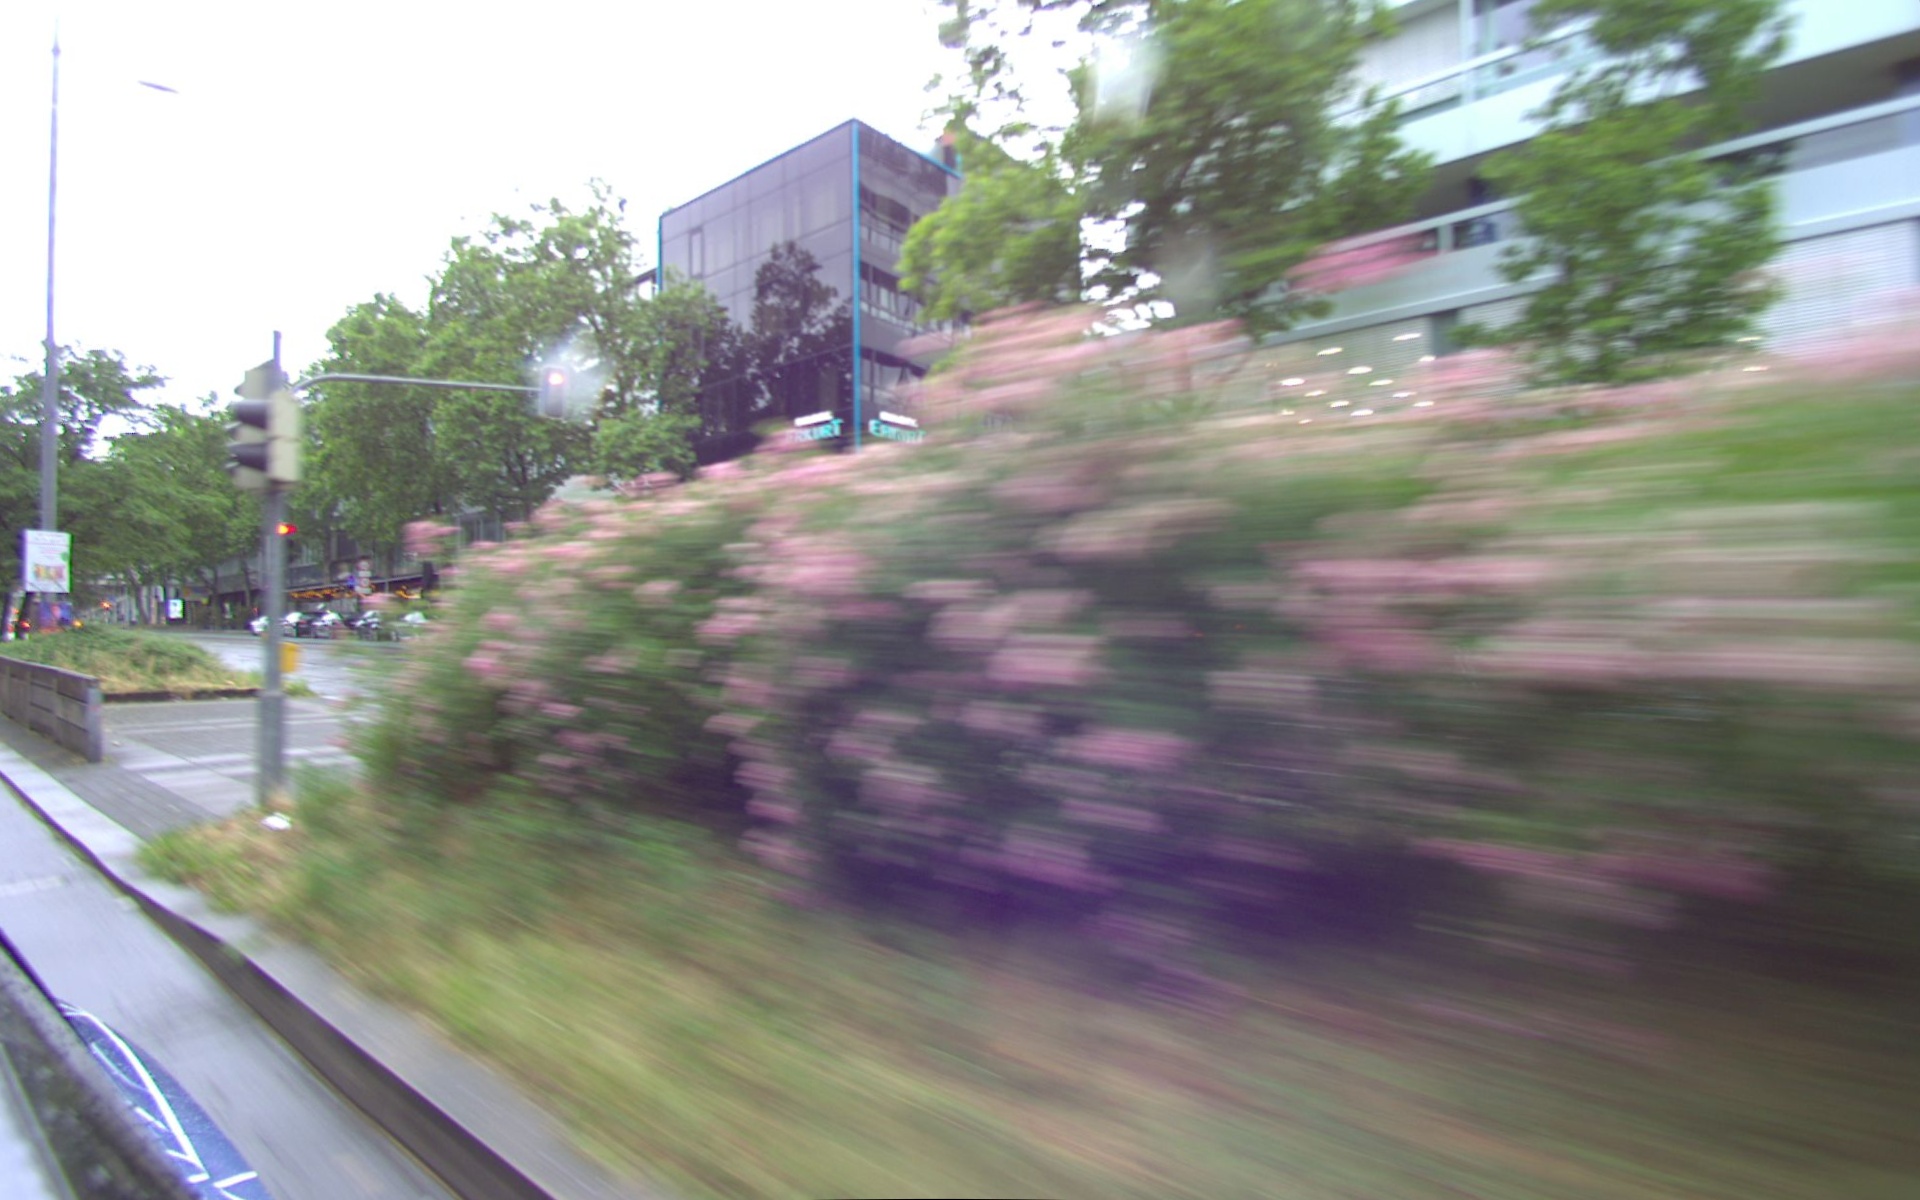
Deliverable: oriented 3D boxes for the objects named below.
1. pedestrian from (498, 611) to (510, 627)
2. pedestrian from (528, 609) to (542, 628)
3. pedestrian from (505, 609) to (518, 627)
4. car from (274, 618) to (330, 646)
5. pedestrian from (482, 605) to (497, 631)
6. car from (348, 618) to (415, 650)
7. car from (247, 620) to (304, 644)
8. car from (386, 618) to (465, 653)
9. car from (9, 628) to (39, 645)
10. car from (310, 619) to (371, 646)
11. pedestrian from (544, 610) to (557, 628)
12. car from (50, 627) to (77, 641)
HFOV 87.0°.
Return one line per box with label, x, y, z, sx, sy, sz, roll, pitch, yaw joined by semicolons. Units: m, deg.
pedestrian;-26.109;1.092;57.948;0.433;0.856;0.435;0;1;38
pedestrian;-23.119;1.011;55.040;0.461;1.000;0.455;-1;1;25
pedestrian;-25.213;1.018;56.885;0.423;1.024;0.459;0;1;38
car;-37.583;1.786;57.751;3.787;1.464;1.728;0;1;41
pedestrian;-30.272;1.162;65.089;0.623;1.660;0.599;-1;1;36
car;-28.476;1.646;49.797;3.399;1.433;1.851;0;1;41
car;-41.691;1.918;61.611;4.390;1.336;1.857;0;1;41
car;-24.466;1.580;46.262;4.538;1.396;1.850;0;1;44
car;-96.939;3.727;104.776;3.726;1.586;1.758;0;1;40
car;-33.014;1.707;53.873;4.318;1.249;1.626;0;1;42
pedestrian;-22.062;1.037;54.482;0.451;0.970;0.454;-1;1;25
car;-98.198;3.708;110.823;3.736;1.335;1.743;0;1;41
